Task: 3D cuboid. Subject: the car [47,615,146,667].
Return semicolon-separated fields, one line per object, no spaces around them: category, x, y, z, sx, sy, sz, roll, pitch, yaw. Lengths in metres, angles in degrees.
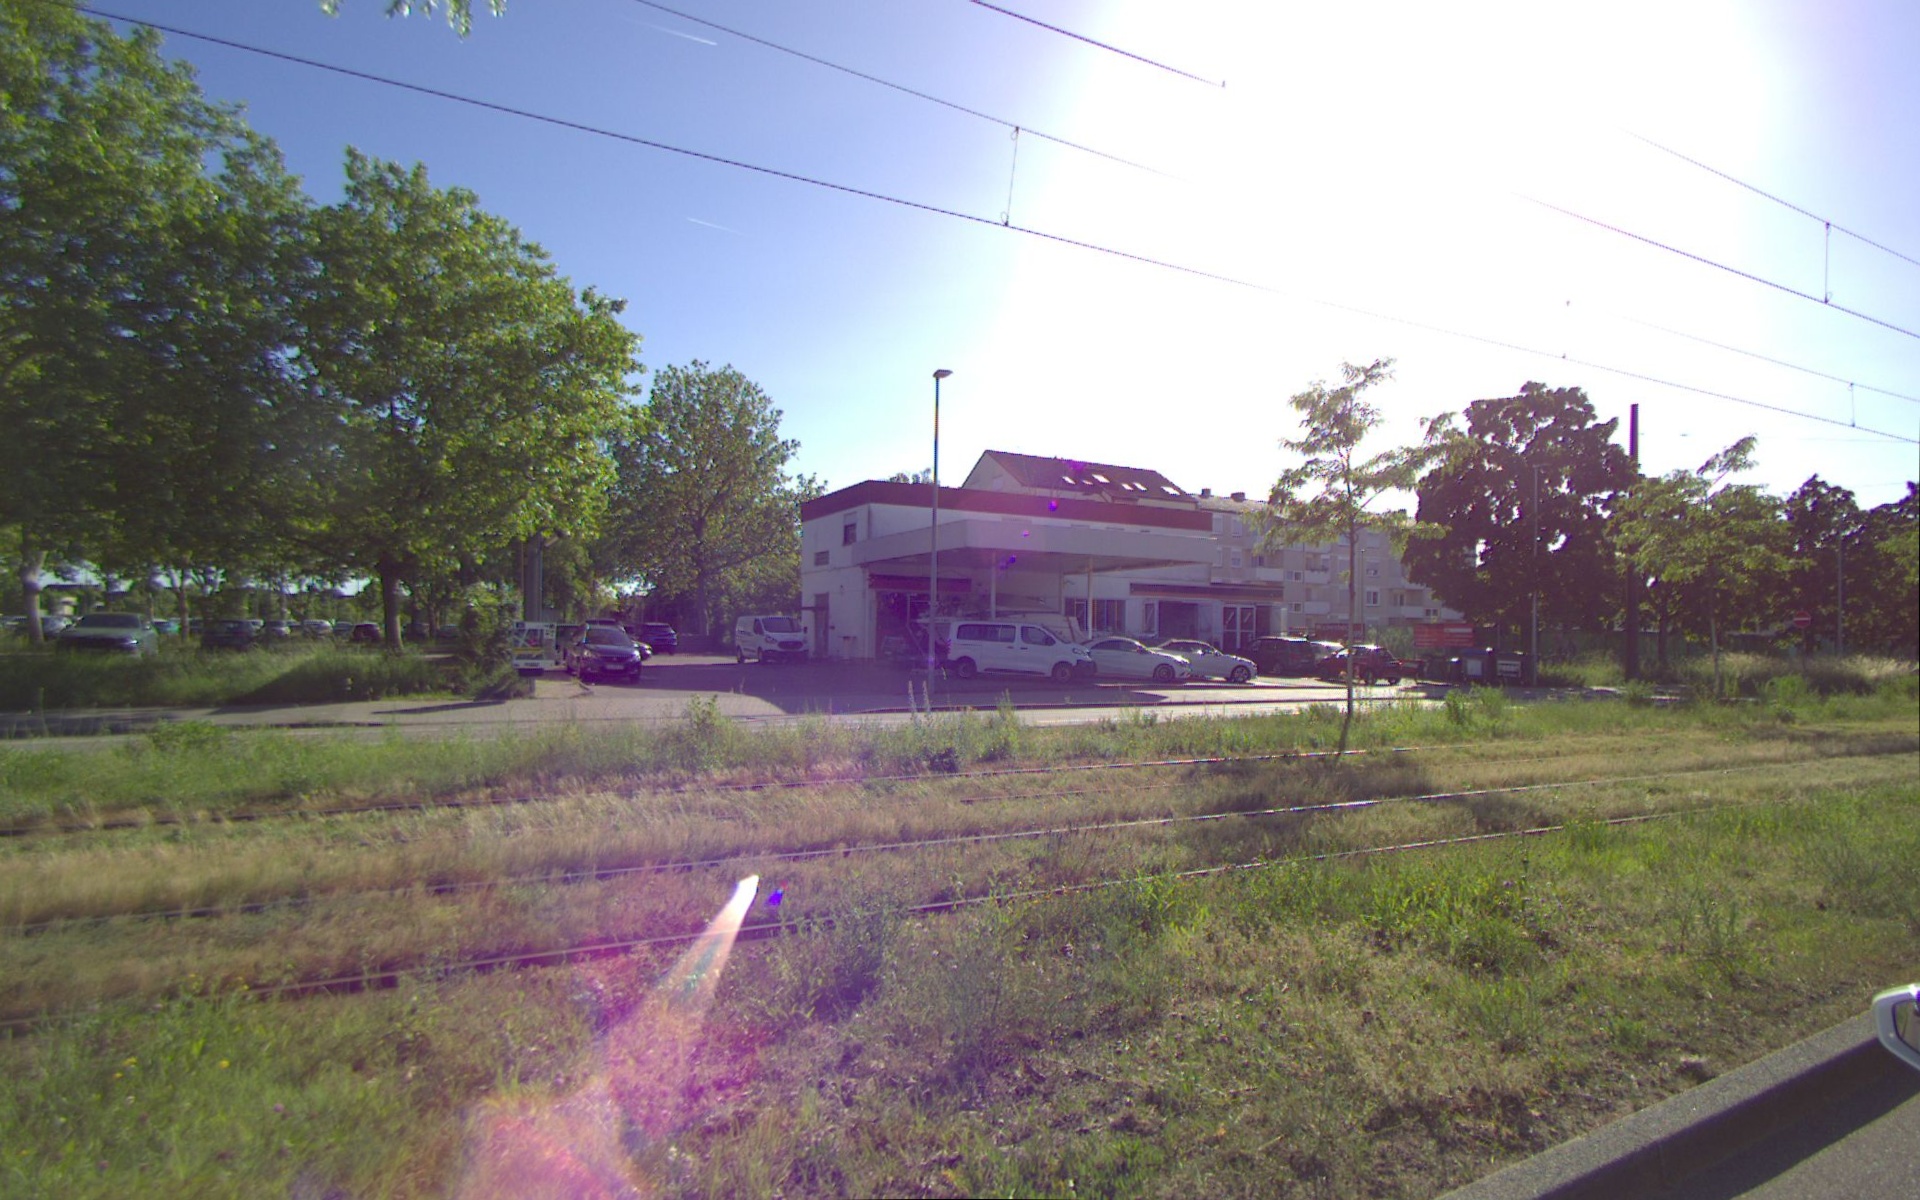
car;-25.867;1.221;30.218;1.648;1.451;3.944;2;-3;-32

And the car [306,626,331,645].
car;-53.185;2.939;83.341;1.648;1.451;3.943;2;-2;-32

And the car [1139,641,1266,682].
car;9.037;2.283;37.719;4.382;1.490;1.793;0;-2;2

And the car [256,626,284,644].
car;-56.000;2.829;81.559;1.648;1.451;3.943;2;-2;-32

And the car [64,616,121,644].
car;-47.715;1.630;55.319;1.727;1.468;3.943;2;-2;-32

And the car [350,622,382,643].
car;-41.854;2.281;70.782;1.827;1.451;3.943;2;-2;-32

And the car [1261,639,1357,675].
car;16.032;2.599;46.353;1.771;1.589;4.052;1;-3;-30

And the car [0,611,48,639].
car;-58.093;1.560;62.227;1.813;1.690;3.960;2;-2;-35

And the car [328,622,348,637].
car;-62.577;2.931;101.004;1.648;1.451;3.943;2;-2;-32

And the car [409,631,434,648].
car;-46.345;3.381;86.435;1.648;1.451;3.943;2;-2;-32

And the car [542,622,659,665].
car;-13.599;1.652;38.020;4.033;1.565;1.573;2;-2;-25

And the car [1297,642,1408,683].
car;16.074;2.522;41.278;1.771;1.589;4.052;1;-3;-30

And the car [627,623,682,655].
car;-16.162;2.042;53.024;1.885;1.652;4.056;2;-2;-30

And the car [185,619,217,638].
car;-59.957;2.236;79.366;1.648;1.451;3.943;2;-2;-32

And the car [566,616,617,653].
car;-19.854;1.843;53.990;1.885;1.884;4.056;2;-2;-30

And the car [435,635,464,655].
car;-44.459;3.882;87.511;1.804;1.627;3.980;2;-2;-21

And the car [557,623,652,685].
car;-10.545;1.554;29.637;1.712;1.545;3.943;5;-3;-32

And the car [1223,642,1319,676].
car;13.988;2.636;45.354;1.771;1.463;4.052;1;-3;-30

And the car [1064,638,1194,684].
car;5.936;2.123;35.380;4.380;1.548;1.793;0;-2;10

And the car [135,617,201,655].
car;-31.904;1.452;40.564;1.648;1.451;3.943;2;-2;-32

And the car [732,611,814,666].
car;-7.840;1.609;41.709;1.996;2.119;4.702;1;-3;-29

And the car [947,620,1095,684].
car;2.052;1.698;33.176;4.689;2.000;1.862;0;-2;10

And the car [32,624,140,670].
car;-24.664;1.296;28.485;1.647;1.182;3.944;2;-2;-32
